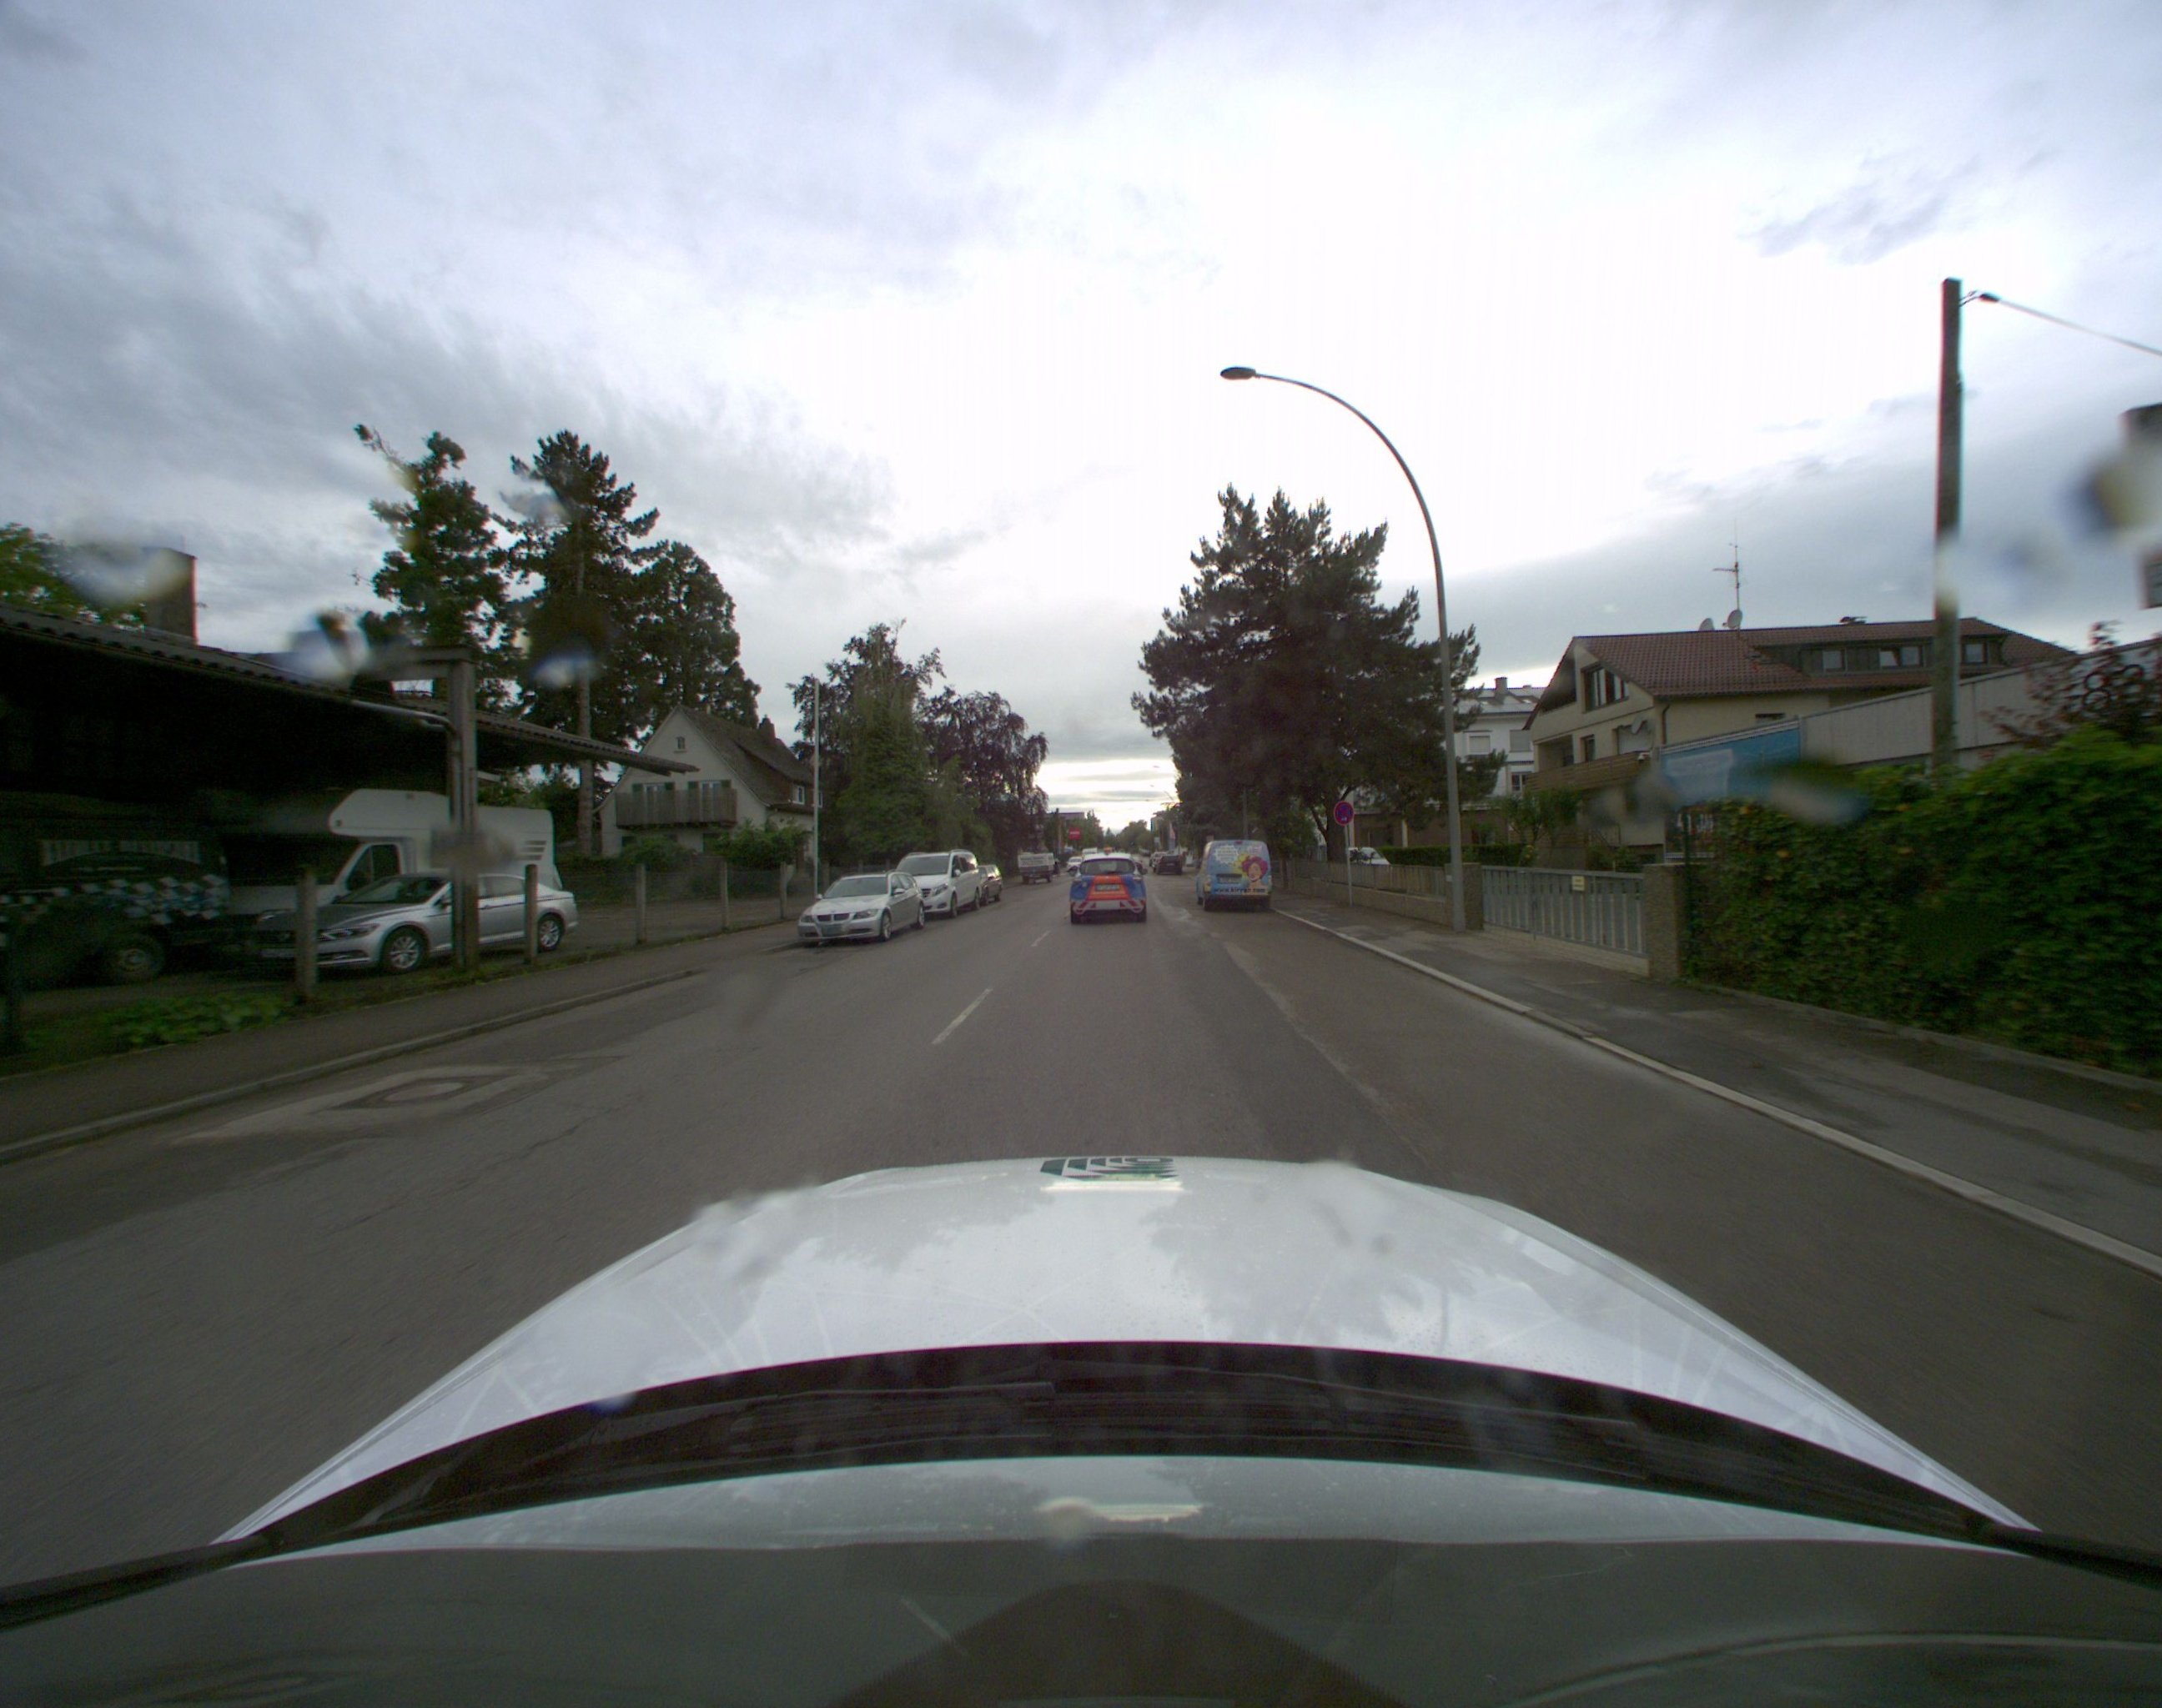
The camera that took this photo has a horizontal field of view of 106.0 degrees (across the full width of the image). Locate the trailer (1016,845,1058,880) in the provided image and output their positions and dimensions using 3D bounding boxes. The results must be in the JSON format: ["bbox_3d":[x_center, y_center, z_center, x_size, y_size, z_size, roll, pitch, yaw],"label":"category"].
[{"bbox_3d":[-2.685,0.583,50.540,2.212,2.014,4.437,0,-2,2],"label":"trailer"}]

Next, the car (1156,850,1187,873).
[{"bbox_3d":[6.601,0.524,59.870,1.986,1.536,4.002,-2,0,2],"label":"car"}]

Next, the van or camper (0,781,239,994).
[{"bbox_3d":[-13.297,0.360,9.196,1.852,2.438,5.235,1,-2,2],"label":"van or camper"}]

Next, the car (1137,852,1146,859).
[{"bbox_3d":[14.761,0.294,197.395,1.986,1.585,4.002,-2,0,2],"label":"car"}]

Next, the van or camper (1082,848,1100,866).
[{"bbox_3d":[1.327,0.371,108.091,2.152,2.353,4.336,-2,0,2],"label":"van or camper"}]

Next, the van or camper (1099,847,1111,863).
[{"bbox_3d":[4.354,0.157,146.367,1.986,2.775,5.443,-2,0,2],"label":"van or camper"}]

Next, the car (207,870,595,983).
[{"bbox_3d":[-10.248,0.988,12.941,1.928,1.444,4.786,-1,-1,4],"label":"car"}]

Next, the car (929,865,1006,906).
[{"bbox_3d":[-4.080,1.108,29.947,1.985,1.288,4.004,-2,0,4],"label":"car"}]

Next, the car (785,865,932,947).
[{"bbox_3d":[-4.685,1.086,17.839,1.734,1.480,4.187,-4,-2,4],"label":"car"}]

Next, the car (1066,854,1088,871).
[{"bbox_3d":[-0.365,0.878,82.387,1.986,1.596,4.001,0,-2,2],"label":"car"}]

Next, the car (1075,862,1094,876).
[{"bbox_3d":[0.435,1.698,94.433,1.986,1.530,4.002,-2,0,2],"label":"car"}]

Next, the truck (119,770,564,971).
[{"bbox_3d":[-12.722,0.288,14.903,2.384,2.927,5.962,0,-1,3],"label":"truck"}]

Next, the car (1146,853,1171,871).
[{"bbox_3d":[6.644,0.661,69.951,1.851,1.454,3.523,-2,0,1],"label":"car"}]

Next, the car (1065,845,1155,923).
[{"bbox_3d":[0.712,0.647,19.632,1.881,1.632,4.002,-2,0,2],"label":"car"}]

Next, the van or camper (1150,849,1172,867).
[{"bbox_3d":[8.258,0.441,84.541,1.986,1.784,4.002,-2,0,2],"label":"van or camper"}]

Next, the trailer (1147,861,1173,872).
[{"bbox_3d":[6.250,0.991,64.620,1.931,0.754,2.861,-2,0,2],"label":"trailer"}]

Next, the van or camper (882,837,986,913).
[{"bbox_3d":[-4.216,0.658,24.310,1.882,2.014,5.100,0,-2,3],"label":"van or camper"}]

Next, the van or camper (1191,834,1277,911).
[{"bbox_3d":[4.137,0.468,22.619,1.747,1.883,4.002,-2,0,2],"label":"van or camper"}]

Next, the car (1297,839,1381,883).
[{"bbox_3d":[9.377,0.323,29.962,1.985,1.486,4.002,0,-2,3],"label":"car"}]
